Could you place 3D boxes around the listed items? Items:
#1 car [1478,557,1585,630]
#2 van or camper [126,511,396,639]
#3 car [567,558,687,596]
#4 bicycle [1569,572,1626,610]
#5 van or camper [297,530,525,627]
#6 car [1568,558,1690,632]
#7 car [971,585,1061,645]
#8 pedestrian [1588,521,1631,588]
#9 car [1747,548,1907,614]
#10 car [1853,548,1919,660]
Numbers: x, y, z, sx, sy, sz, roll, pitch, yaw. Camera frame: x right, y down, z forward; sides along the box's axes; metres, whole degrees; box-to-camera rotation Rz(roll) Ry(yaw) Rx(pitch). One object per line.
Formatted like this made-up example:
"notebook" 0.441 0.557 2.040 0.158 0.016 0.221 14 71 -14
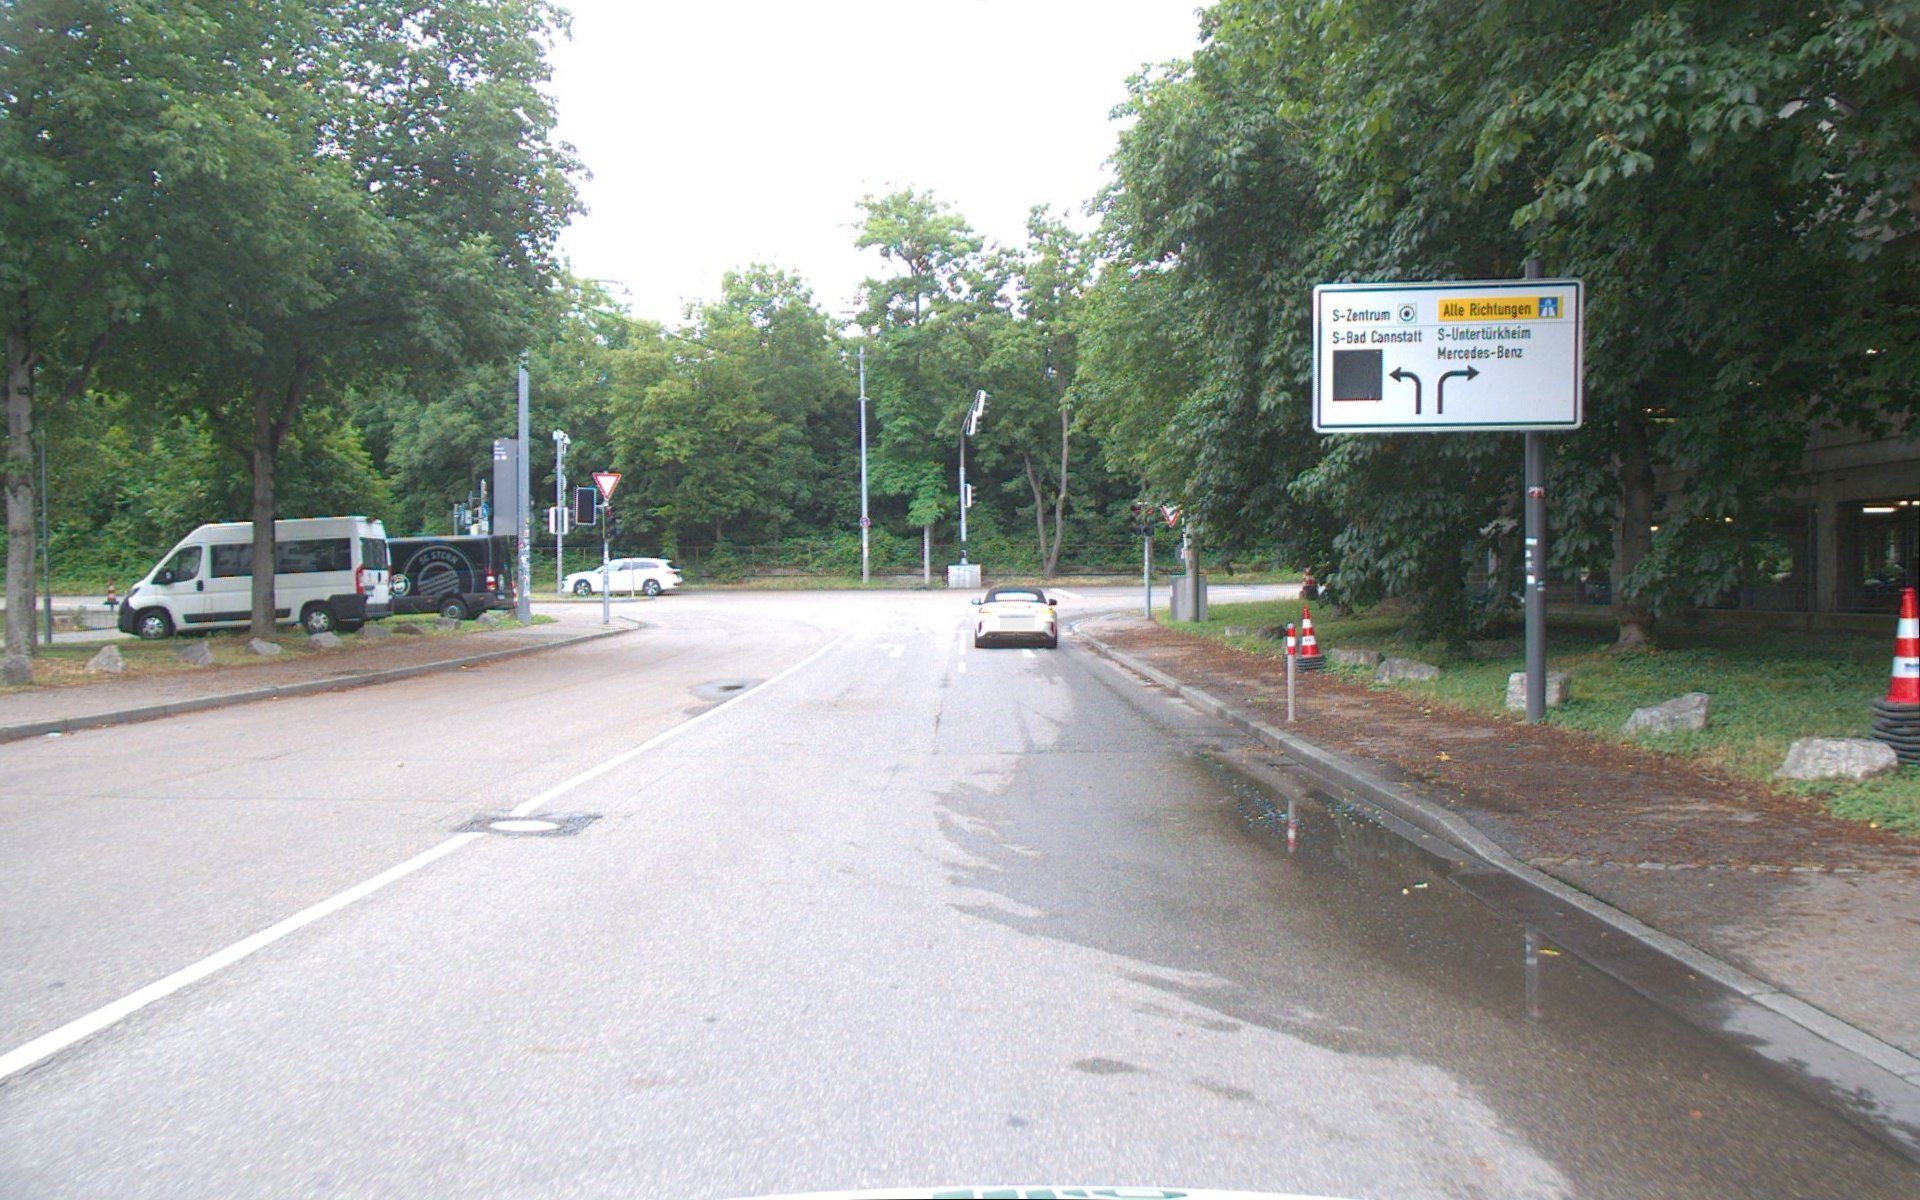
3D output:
"car" 14.279 -0.139 41.507 1.450 1.738 3.719 0 -1 1
"van or camper" -14.887 -0.518 35.440 4.870 2.615 2.061 1 -1 -2
"car" -13.650 -0.947 67.971 4.581 1.481 1.898 1 -1 -4
"bicycle" 12.838 -0.166 33.339 0.438 0.749 1.493 1 -1 -7
"van or camper" -14.813 -0.549 44.840 5.421 2.354 2.062 -2 -1 2
"car" 16.639 -0.101 41.286 1.548 1.738 3.769 0 -1 1
"car" 1.225 0.335 37.672 1.790 1.279 3.999 1 -1 -2
"pedestrian" 13.167 -0.919 33.546 0.627 1.340 0.636 0 -1 0
"car" 21.626 -0.436 41.447 1.952 1.579 4.000 0 -1 0
"car" 18.574 0.087 30.280 1.953 2.049 4.674 0 -1 0
